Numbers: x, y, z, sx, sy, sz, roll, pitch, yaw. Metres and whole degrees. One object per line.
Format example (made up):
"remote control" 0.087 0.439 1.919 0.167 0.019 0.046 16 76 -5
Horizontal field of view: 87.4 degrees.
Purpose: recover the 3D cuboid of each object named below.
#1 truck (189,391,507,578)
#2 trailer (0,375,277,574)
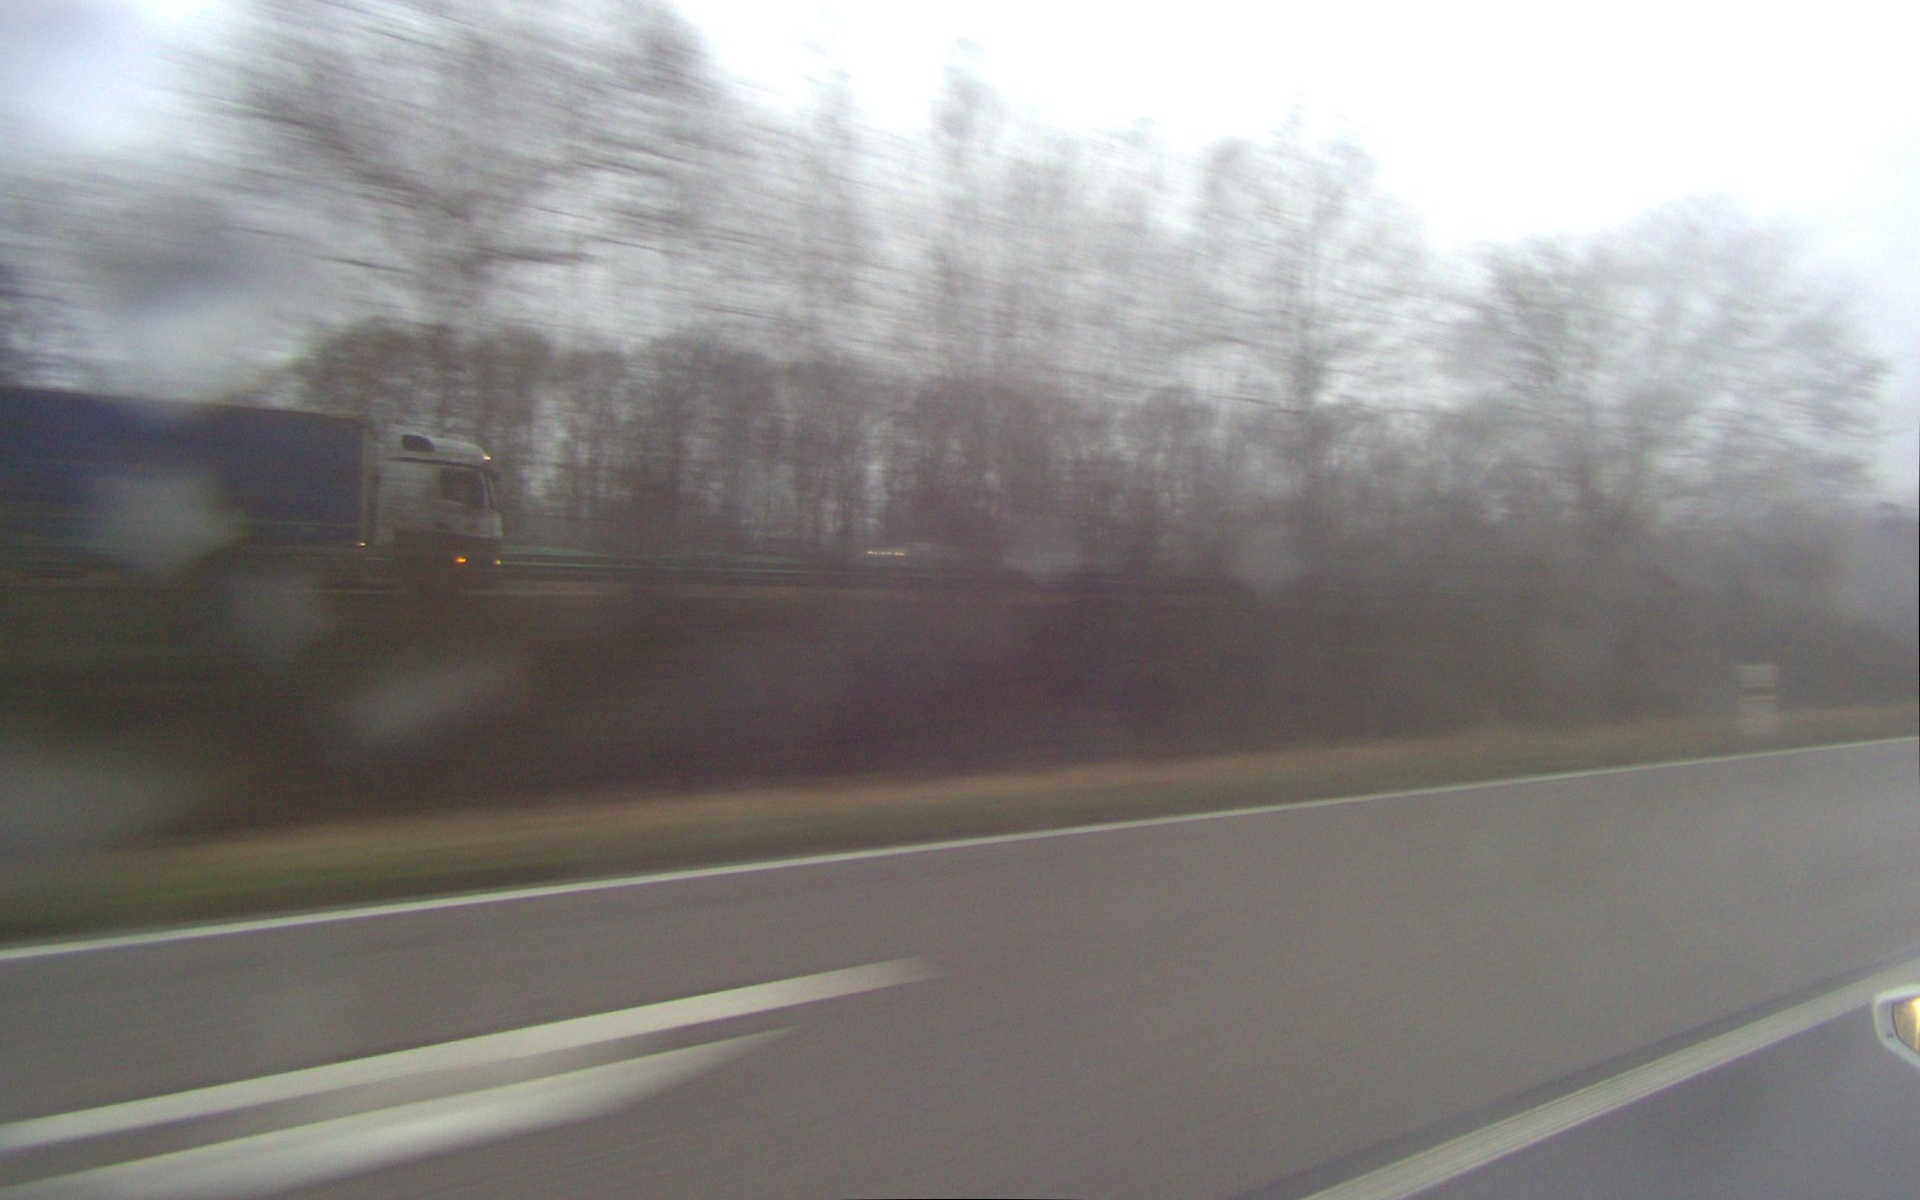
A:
"truck" -13.936 -2.455 23.493 5.988 3.680 2.982 0 -1 -27
"trailer" -20.639 -2.511 20.057 11.239 3.682 2.988 0 -1 -27
